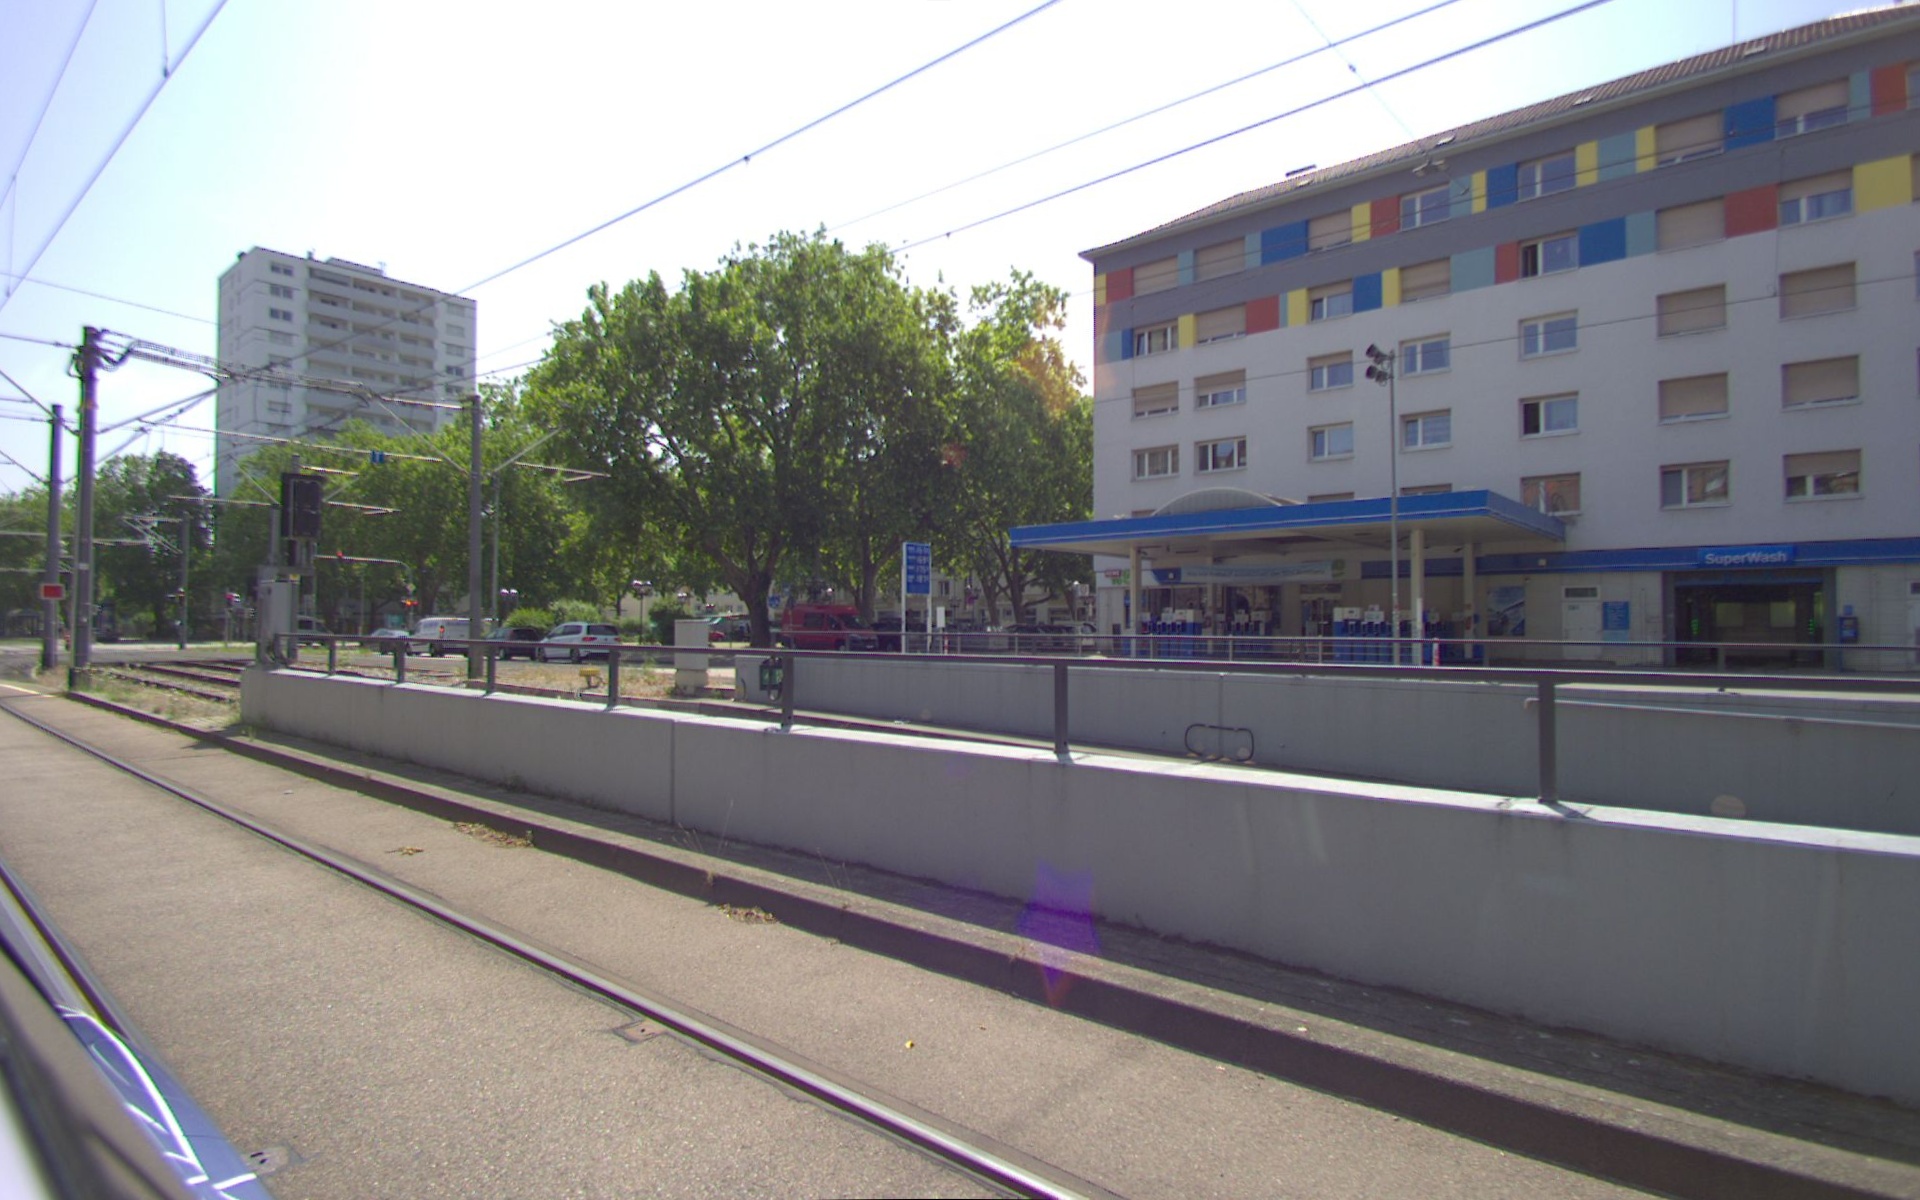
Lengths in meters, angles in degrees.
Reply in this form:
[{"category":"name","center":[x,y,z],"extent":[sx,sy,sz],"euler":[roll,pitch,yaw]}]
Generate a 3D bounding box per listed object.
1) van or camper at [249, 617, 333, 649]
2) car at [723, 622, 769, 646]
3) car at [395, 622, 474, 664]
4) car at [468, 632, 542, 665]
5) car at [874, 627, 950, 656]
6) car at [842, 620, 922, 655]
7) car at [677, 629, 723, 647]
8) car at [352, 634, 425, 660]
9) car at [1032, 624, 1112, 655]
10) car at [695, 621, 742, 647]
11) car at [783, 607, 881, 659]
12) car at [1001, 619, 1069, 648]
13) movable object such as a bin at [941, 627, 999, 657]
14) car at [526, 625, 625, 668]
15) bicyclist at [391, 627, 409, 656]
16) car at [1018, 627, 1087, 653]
[{"category":"van or camper","center":[-53.480,2.679,81.091],"extent":[2.052,2.480,5.880],"euler":[-1,-2,11]},{"category":"car","center":[-18.936,2.965,89.296],"extent":[3.998,2.099,1.973],"euler":[-2,-2,41]},{"category":"car","center":[-26.301,2.144,50.593],"extent":[4.801,2.006,1.759],"euler":[-2,-3,40]},{"category":"car","center":[-20.560,2.191,45.664],"extent":[3.779,1.431,1.579],"euler":[-2,-4,41]},{"category":"car","center":[-2.642,2.250,55.579],"extent":[3.998,1.538,1.843],"euler":[-2,-3,41]},{"category":"car","center":[-4.090,1.944,53.086],"extent":[3.998,1.733,1.973],"euler":[-1,-2,41]},{"category":"car","center":[-20.819,3.038,81.054],"extent":[1.471,1.394,3.300],"euler":[-2,-2,40]},{"category":"car","center":[-30.839,2.518,54.553],"extent":[4.624,1.369,1.927],"euler":[-2,-3,40]},{"category":"car","center":[7.465,2.618,67.890],"extent":[5.098,2.006,1.900],"euler":[-2,-3,36]},{"category":"car","center":[-20.408,2.875,85.519],"extent":[3.998,2.099,1.973],"euler":[-2,-2,41]},{"category":"car","center":[-6.262,1.559,49.204],"extent":[4.978,2.411,1.828],"euler":[0,-1,40]},{"category":"car","center":[4.601,2.065,62.285],"extent":[3.997,1.719,1.582],"euler":[-1,-2,41]},{"category":"movable object such as a bin","center":[0.583,2.313,56.371],"extent":[1.985,1.623,2.689],"euler":[-2,-2,40]},{"category":"car","center":[-15.697,1.889,41.230],"extent":[4.601,1.638,1.827],"euler":[-2,-4,42]},{"category":"bicyclist","center":[-33.490,2.490,60.520],"extent":[0.867,1.698,0.632],"euler":[-2,-2,38]},{"category":"car","center":[5.889,2.535,64.547],"extent":[3.995,1.622,1.845],"euler":[-2,-2,39]}]
